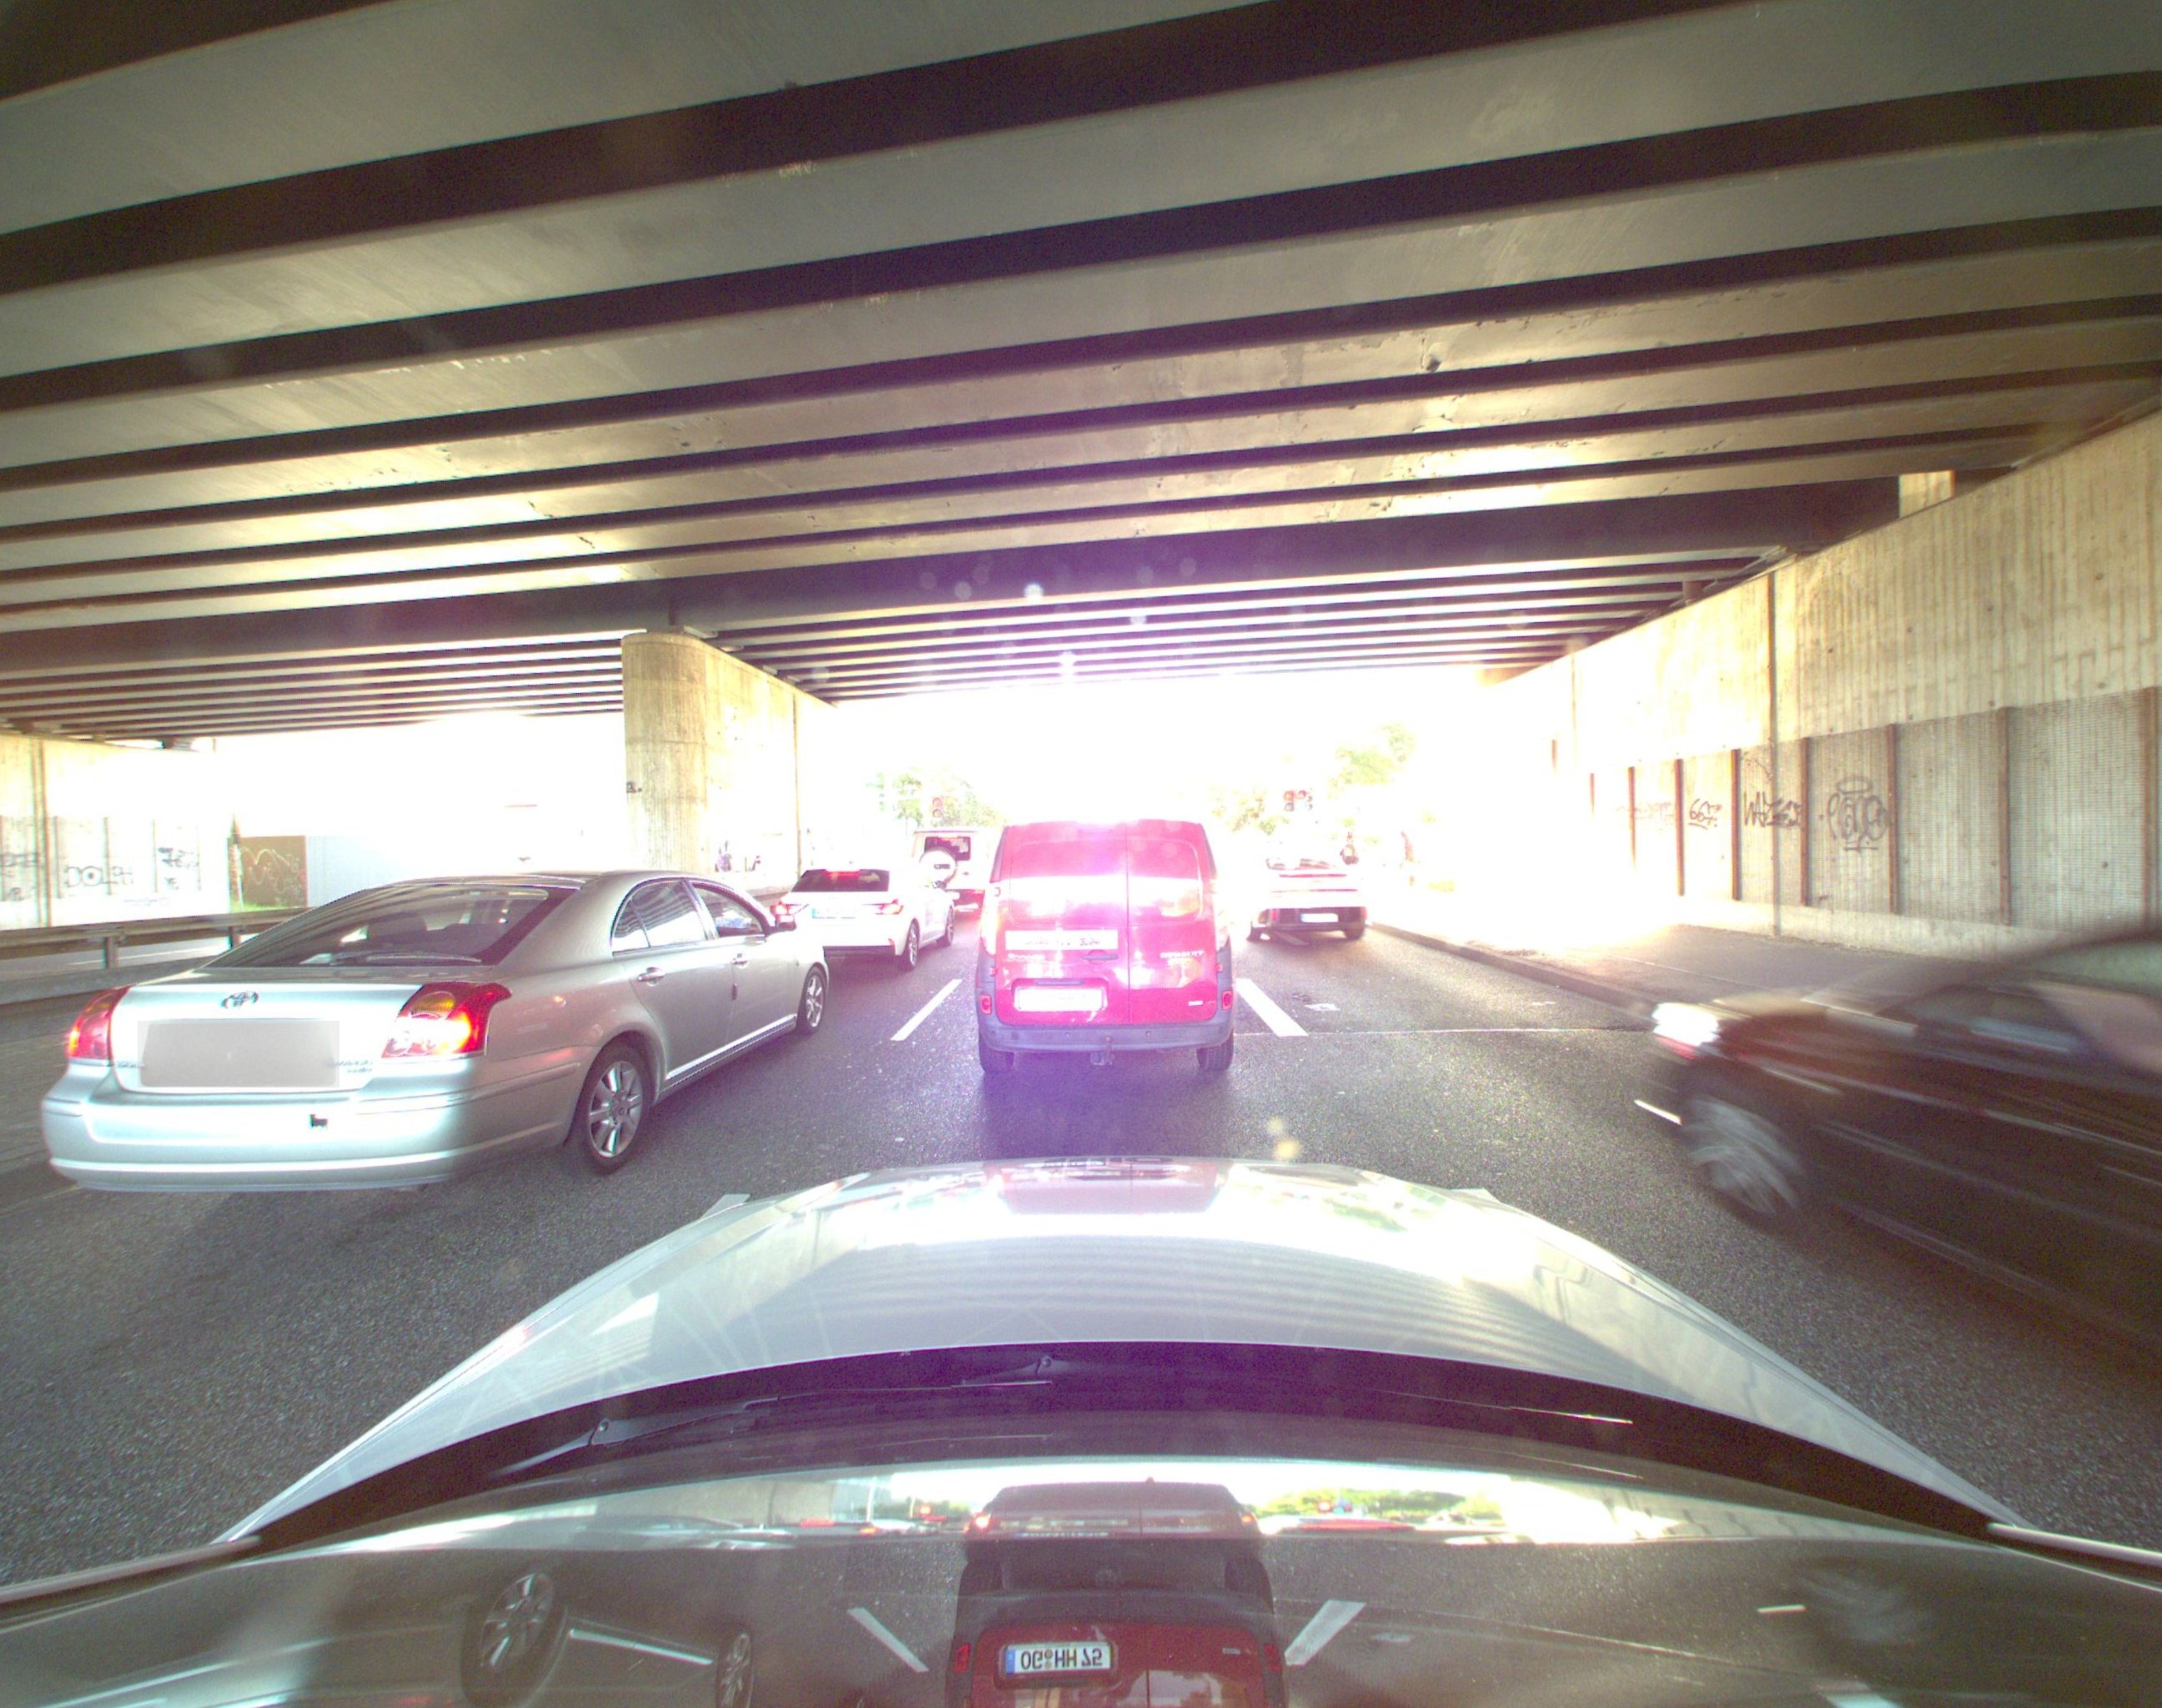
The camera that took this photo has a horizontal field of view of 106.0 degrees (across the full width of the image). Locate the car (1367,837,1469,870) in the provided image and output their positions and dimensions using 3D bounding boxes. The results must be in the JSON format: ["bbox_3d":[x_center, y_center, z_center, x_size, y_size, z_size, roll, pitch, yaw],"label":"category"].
[{"bbox_3d":[15.289,-0.035,37.055,3.867,1.464,1.841,0,0,-4],"label":"car"}]

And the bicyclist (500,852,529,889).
[{"bbox_3d":[-23.668,0.693,34.035,0.625,1.525,0.837,0,-1,1],"label":"bicyclist"}]

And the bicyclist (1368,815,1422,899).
[{"bbox_3d":[6.349,0.070,16.504,0.744,1.655,0.886,0,-1,1],"label":"bicyclist"}]

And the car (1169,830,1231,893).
[{"bbox_3d":[3.795,0.183,26.156,1.803,1.833,4.309,0,1,7],"label":"car"}]

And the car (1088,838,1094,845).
[{"bbox_3d":[3.122,-3.929,261.312,1.741,2.014,3.846,0,0,2],"label":"car"}]

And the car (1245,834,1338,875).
[{"bbox_3d":[8.980,0.030,34.561,4.129,1.622,1.789,0,-1,-41],"label":"car"}]

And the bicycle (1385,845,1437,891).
[{"bbox_3d":[8.343,0.343,20.675,0.678,1.113,1.604,-1,0,1],"label":"bicycle"}]

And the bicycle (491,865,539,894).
[{"bbox_3d":[-23.673,1.054,34.105,0.631,1.165,1.878,0,0,2],"label":"bicycle"}]

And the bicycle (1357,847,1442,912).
[{"bbox_3d":[6.379,0.472,16.474,0.762,1.146,2.470,-3,1,1],"label":"bicycle"}]

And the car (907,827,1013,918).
[{"bbox_3d":[-2.699,0.379,18.990,1.807,1.904,3.814,0,0,1],"label":"car"}]

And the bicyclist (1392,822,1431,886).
[{"bbox_3d":[8.331,0.007,20.558,0.667,1.561,0.735,-2,-1,1],"label":"bicyclist"}]

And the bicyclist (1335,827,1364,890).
[{"bbox_3d":[7.148,0.117,21.685,0.673,1.629,0.646,0,-1,12],"label":"bicyclist"}]

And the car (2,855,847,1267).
[{"bbox_3d":[-3.005,0.750,5.139,1.690,1.455,4.399,0,0,1],"label":"car"}]

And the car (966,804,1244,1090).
[{"bbox_3d":[0.209,0.576,7.057,1.712,1.764,4.002,0,0,2],"label":"car"}]

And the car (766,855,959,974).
[{"bbox_3d":[-2.911,0.726,11.677,1.687,1.410,3.813,0,0,0],"label":"car"}]

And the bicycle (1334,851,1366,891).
[{"bbox_3d":[7.155,0.437,21.711,0.672,1.024,1.534,0,0,12],"label":"bicycle"}]

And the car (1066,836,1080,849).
[{"bbox_3d":[-1.292,-1.869,131.465,1.986,2.014,4.001,0,0,2],"label":"car"}]

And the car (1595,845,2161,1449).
[{"bbox_3d":[3.474,0.702,2.246,1.740,1.456,3.715,0,0,-1],"label":"car"}]

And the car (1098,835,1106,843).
[{"bbox_3d":[5.684,-4.035,220.892,1.986,2.014,4.001,0,0,2],"label":"car"}]

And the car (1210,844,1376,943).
[{"bbox_3d":[3.523,0.586,14.460,1.740,1.456,4.663,0,0,0],"label":"car"}]
